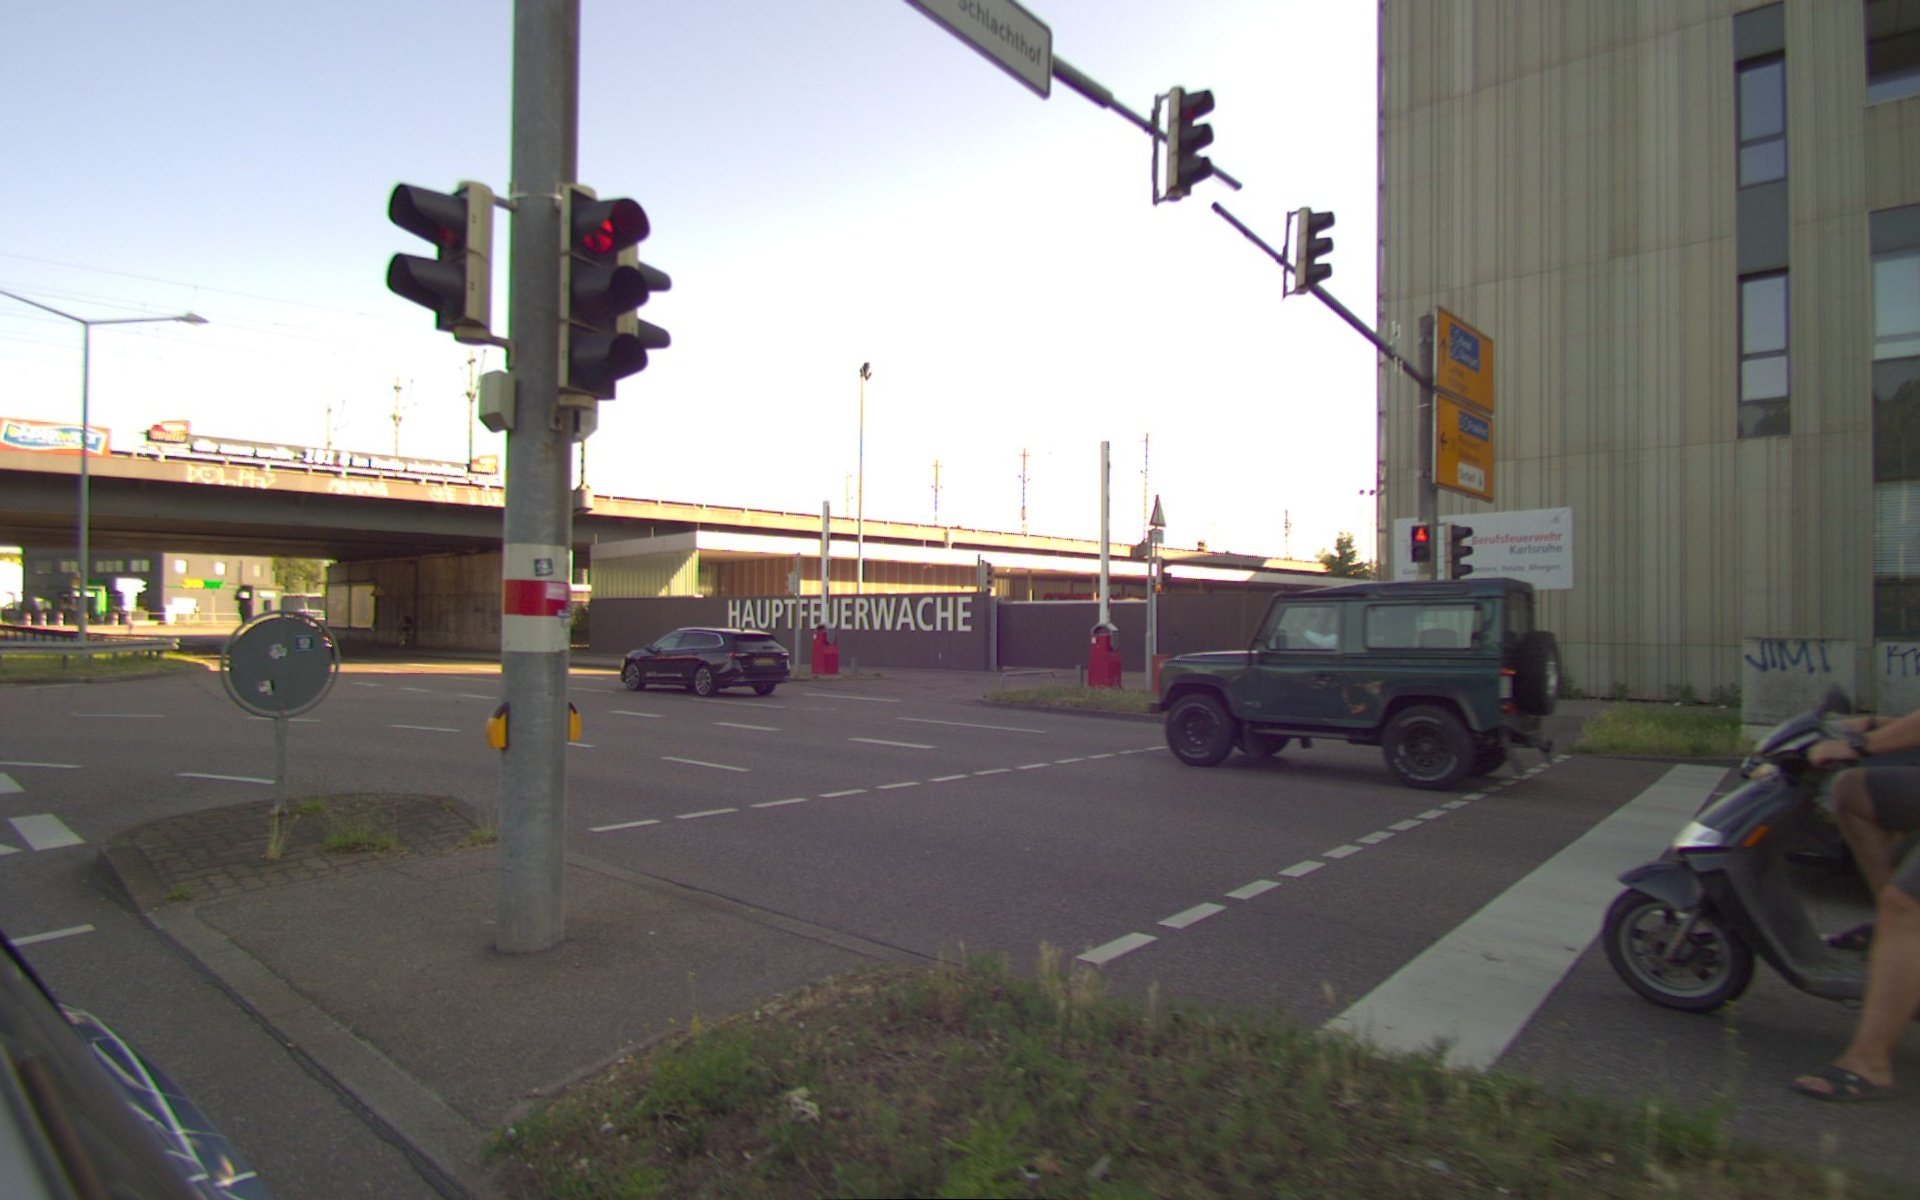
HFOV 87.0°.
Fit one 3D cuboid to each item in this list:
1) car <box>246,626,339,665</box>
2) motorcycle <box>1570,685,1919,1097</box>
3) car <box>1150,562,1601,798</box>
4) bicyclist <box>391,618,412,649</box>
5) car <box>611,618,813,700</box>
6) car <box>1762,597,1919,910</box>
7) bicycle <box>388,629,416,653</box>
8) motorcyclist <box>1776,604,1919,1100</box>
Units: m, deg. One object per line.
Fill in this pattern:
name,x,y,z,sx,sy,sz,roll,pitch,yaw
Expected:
car,-27.687,1.868,41.928,4.345,1.411,1.973,0,-4,40
motorcycle,3.181,0.833,2.914,2.395,1.084,0.833,-1,-4,34
car,4.193,0.784,10.546,3.990,1.994,1.776,-2,-5,40
bicyclist,-28.847,1.715,52.232,0.716,1.575,0.940,-1,1,-45
car,-5.708,1.310,22.986,4.711,1.604,1.973,0,-4,40
car,6.373,0.749,4.741,4.077,1.486,1.974,0,1,40
bicycle,-28.782,2.109,52.169,0.697,1.165,2.082,-1,-1,-45
motorcyclist,3.225,0.697,2.892,1.271,1.360,0.790,-2,-4,34
